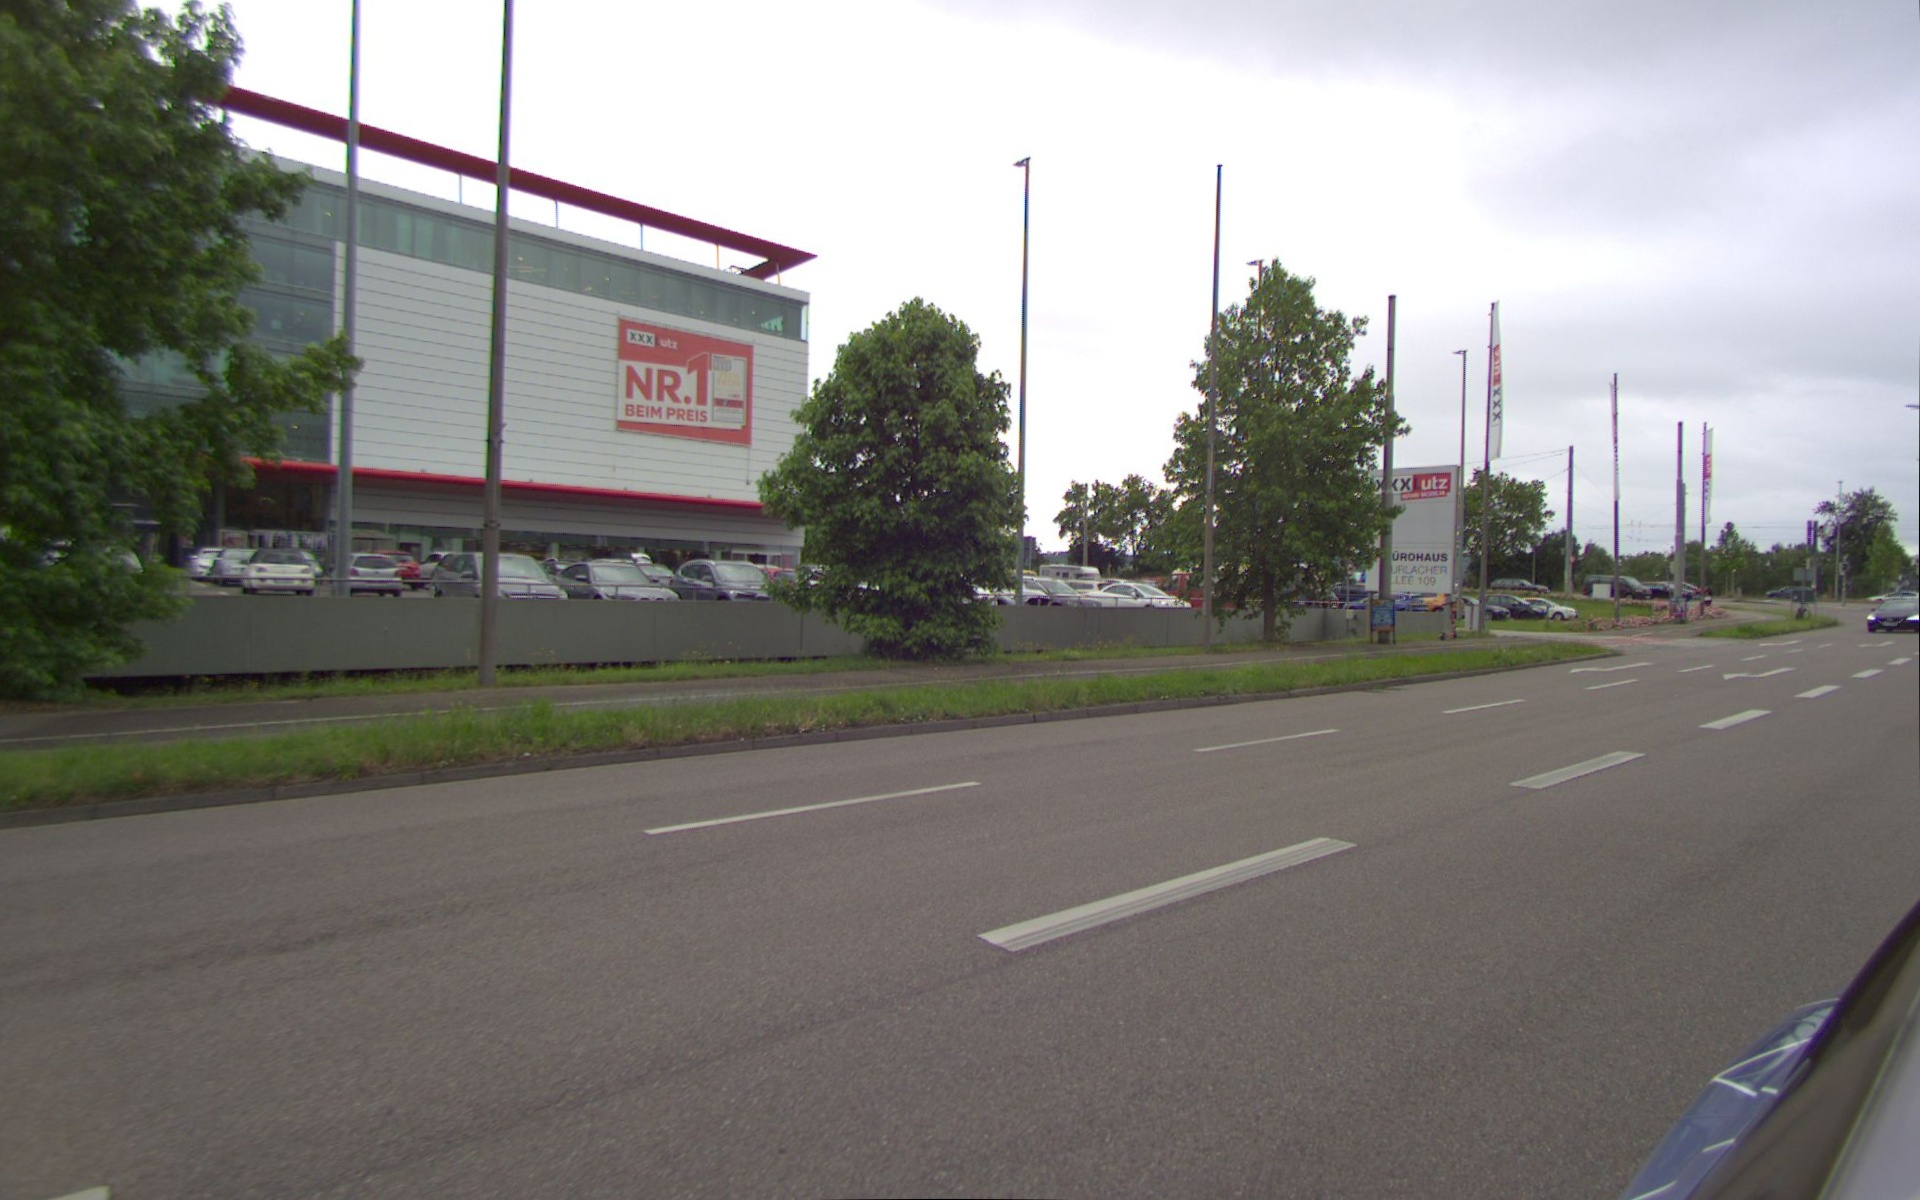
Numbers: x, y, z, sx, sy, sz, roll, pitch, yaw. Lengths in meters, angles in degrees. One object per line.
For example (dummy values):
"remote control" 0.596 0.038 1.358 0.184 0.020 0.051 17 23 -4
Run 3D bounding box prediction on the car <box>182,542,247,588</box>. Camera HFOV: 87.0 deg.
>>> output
"car" -32.154 -1.474 43.627 1.784 1.804 3.987 3 -1 -43

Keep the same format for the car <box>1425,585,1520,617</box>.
"car" 28.216 0.040 55.770 4.513 1.602 1.747 1 3 36

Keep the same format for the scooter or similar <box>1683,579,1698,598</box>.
"scooter or similar" 49.153 -0.807 68.071 0.341 1.248 1.162 -1 1 10

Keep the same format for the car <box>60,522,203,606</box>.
"car" -14.936 -0.615 18.182 3.514 1.324 1.580 2 -1 44

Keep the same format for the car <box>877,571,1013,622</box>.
"car" -0.511 -0.122 29.961 1.803 1.367 4.060 3 -1 -42

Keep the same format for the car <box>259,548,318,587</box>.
"car" -30.006 -1.424 45.198 1.711 1.574 3.800 3 -1 -40

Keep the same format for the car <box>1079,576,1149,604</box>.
"car" 9.043 -0.607 59.484 1.664 1.601 3.900 1 0 -42

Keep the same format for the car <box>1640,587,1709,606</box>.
"car" 58.167 -0.290 82.450 1.800 1.482 4.213 0 0 -28

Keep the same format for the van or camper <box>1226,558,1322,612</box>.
"van or camper" 18.460 -0.925 59.771 1.953 3.021 5.399 0 1 -34

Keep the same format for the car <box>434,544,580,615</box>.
"car" -9.972 -0.441 22.122 1.733 1.367 4.060 3 -1 -42

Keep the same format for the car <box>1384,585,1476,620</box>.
"car" 24.533 0.093 52.914 1.781 1.664 3.999 0 1 -36

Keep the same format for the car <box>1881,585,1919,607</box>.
"car" 87.734 -0.394 93.333 3.981 2.039 1.920 1 1 40

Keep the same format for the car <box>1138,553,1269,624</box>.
"car" 9.638 -0.459 40.371 2.131 2.612 4.733 3 -1 -39

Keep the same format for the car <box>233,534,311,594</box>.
"car" -21.902 -1.110 32.172 1.702 1.723 3.745 3 -1 -39

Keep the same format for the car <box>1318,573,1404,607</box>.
"car" 27.109 -0.707 68.573 2.082 2.192 5.052 0 2 -36

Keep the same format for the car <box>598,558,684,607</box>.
"car" -12.592 -0.685 39.783 1.807 1.743 3.996 3 -1 -39

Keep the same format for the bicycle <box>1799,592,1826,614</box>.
"bicycle" 43.836 0.156 52.054 1.659 1.061 0.665 -1 1 -35

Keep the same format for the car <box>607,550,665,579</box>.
"car" -18.760 -2.020 58.530 1.798 1.574 3.799 3 -1 -41

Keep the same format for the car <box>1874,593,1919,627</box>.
"car" 41.860 0.408 44.611 4.271 1.408 1.996 -1 2 -43

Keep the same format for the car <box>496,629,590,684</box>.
"car" -14.723 1.940 35.647 1.754 1.643 3.991 0 1 -43

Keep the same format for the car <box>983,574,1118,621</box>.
"car" 2.915 -0.104 33.510 1.833 1.437 4.476 3 -1 -39

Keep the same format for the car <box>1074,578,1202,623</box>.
"car" 6.376 -0.013 36.671 1.925 1.480 4.384 3 -1 -39

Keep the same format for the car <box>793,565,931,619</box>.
"car" -2.795 -0.228 28.067 1.733 1.367 4.060 3 -1 -42

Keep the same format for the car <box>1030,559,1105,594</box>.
"car" 10.145 -2.223 95.893 2.721 3.027 6.938 3 -1 -42

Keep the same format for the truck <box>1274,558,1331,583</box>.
"truck" 44.872 -3.884 132.634 2.781 2.960 6.528 3 0 -44

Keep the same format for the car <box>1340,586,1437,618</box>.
"car" 20.958 0.075 49.597 1.782 1.473 3.995 -1 2 -40

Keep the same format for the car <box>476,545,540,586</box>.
"car" -20.567 -1.514 45.996 1.860 1.772 3.999 0 1 -36

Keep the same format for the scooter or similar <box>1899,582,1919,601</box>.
"scooter or similar" 67.456 -0.627 71.846 0.314 1.271 1.117 -2 3 -29

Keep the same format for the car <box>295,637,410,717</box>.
"car" -14.877 1.798 24.691 1.733 1.571 4.061 0 1 -41

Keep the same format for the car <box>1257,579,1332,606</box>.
"car" 20.455 -0.471 61.979 1.965 1.588 3.994 0 0 -40

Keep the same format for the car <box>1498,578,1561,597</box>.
"car" 49.439 -1.116 87.859 1.932 1.482 4.322 0 2 -36

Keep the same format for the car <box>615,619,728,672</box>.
"car" -8.675 1.300 30.234 1.733 1.367 4.061 0 1 -40

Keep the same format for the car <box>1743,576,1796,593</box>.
"car" 76.312 -1.460 95.464 3.803 1.531 1.701 2 -1 36

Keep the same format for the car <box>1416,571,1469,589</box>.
"car" 44.657 -1.844 93.765 1.703 1.558 4.040 3 0 -41

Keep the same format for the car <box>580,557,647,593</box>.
"car" -16.927 -1.196 49.360 1.847 1.631 3.997 3 -1 -38

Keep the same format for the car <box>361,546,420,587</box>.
"car" -24.131 -1.378 42.795 1.709 1.574 3.804 3 -1 -36

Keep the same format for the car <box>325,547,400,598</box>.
"car" -19.822 -0.897 33.540 1.583 1.545 3.571 3 -1 -39

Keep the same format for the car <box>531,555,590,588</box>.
"car" -21.063 -1.479 53.309 1.711 1.574 3.778 3 -1 -40

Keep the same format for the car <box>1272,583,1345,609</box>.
"car" 21.907 -0.253 63.758 1.910 1.575 4.000 0 0 -35

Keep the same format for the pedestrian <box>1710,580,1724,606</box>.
"pedestrian" 47.832 -0.434 63.951 0.713 1.616 0.773 1 3 38

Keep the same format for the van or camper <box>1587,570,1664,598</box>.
"van or camper" 53.211 -1.325 80.999 2.080 2.038 4.763 -2 4 -25

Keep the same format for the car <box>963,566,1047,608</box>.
"car" 1.989 -0.593 45.917 1.702 1.790 3.745 3 -1 -39

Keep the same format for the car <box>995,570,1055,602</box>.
"car" 4.417 -0.960 68.797 1.851 2.073 3.994 0 1 -40

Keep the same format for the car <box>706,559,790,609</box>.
"car" -9.181 -0.712 43.654 1.942 2.039 3.996 0 1 -39

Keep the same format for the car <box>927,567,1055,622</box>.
"car" 0.909 -0.178 31.539 1.732 1.560 4.063 3 -1 -39

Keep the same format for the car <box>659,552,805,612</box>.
"car" -5.819 -0.447 25.544 1.778 1.367 4.159 3 -1 -42

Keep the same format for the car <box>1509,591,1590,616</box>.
"car" 37.698 0.208 64.760 1.843 1.464 4.112 3 -1 -42

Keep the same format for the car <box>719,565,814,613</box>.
"car" -7.264 -0.430 37.697 1.800 1.685 4.183 0 1 -38

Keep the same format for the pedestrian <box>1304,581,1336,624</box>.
"pedestrian" 14.826 0.098 41.668 0.870 1.741 0.940 3 -1 -42

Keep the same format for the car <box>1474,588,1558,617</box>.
"car" 33.604 0.138 61.210 1.740 1.603 4.095 2 0 -44

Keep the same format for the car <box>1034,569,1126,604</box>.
"car" 5.755 -0.646 49.053 1.801 1.604 4.421 3 -1 -39

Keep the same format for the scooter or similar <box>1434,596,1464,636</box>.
"scooter or similar" 15.146 0.497 31.325 1.226 1.206 0.371 1 0 -42

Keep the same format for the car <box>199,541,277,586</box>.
"car" -28.225 -1.400 39.510 1.834 1.606 4.289 3 -1 -44

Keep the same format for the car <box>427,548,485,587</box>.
"car" -22.084 -1.396 44.262 1.707 1.607 3.579 0 1 -36

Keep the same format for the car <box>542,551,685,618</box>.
"car" -8.239 -0.364 23.852 1.733 1.417 4.060 3 -1 -42
